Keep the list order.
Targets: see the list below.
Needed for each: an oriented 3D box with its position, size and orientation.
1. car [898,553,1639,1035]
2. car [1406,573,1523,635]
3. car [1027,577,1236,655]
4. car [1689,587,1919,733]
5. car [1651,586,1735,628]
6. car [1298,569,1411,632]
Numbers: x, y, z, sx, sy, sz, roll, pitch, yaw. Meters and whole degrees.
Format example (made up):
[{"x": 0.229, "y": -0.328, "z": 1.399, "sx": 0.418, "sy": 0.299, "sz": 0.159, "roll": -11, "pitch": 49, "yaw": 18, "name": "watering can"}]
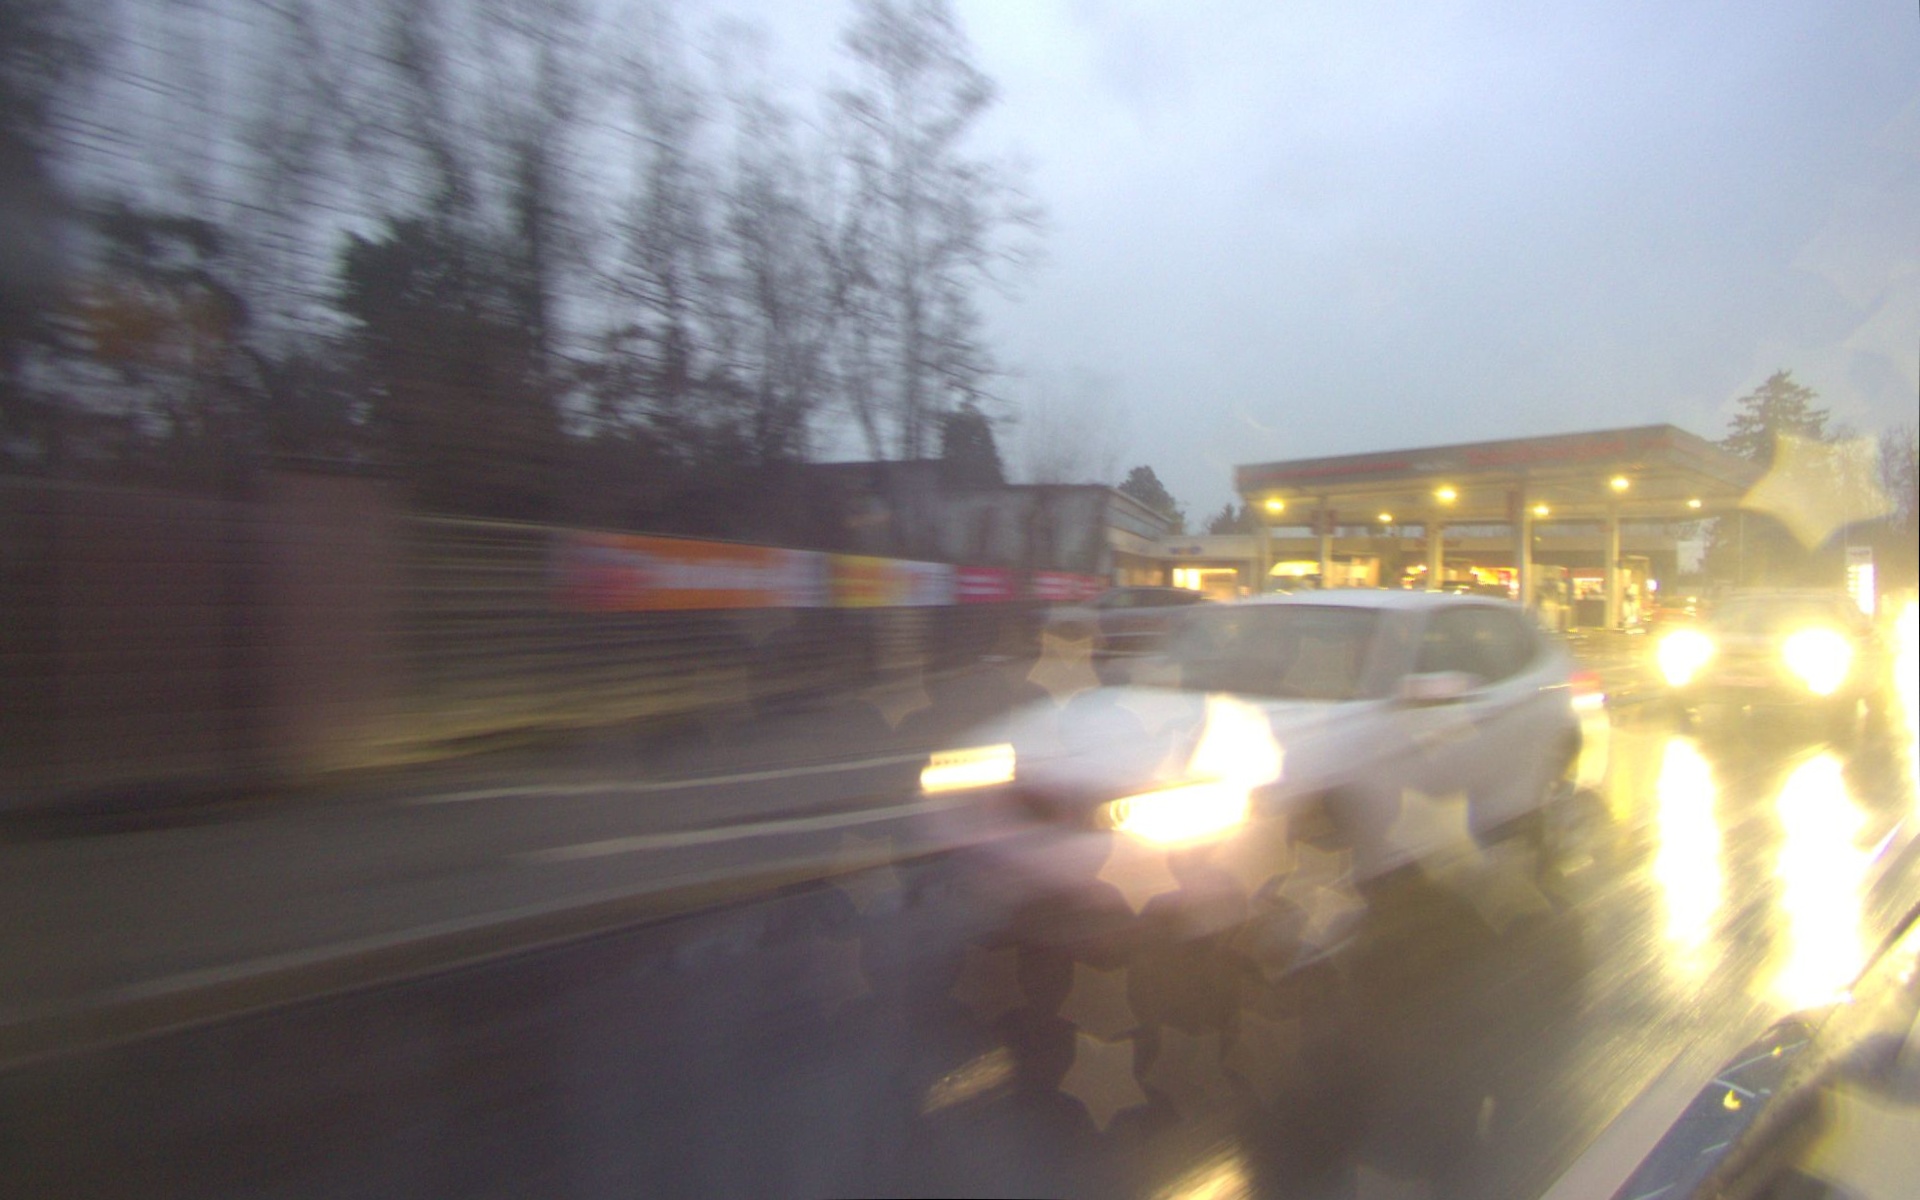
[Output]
[{"x": 1.933, "y": 0.619, "z": 5.430, "sx": 4.385, "sy": 1.595, "sz": 1.711, "roll": 0, "pitch": 1, "yaw": -40, "name": "car"}, {"x": 16.744, "y": 0.084, "z": 33.500, "sx": 4.223, "sy": 1.882, "sz": 1.997, "roll": 0, "pitch": 2, "yaw": -41, "name": "car"}, {"x": 3.756, "y": 0.314, "z": 22.688, "sx": 4.405, "sy": 1.628, "sz": 2.016, "roll": 0, "pitch": 1, "yaw": 7, "name": "car"}, {"x": 10.624, "y": 0.620, "z": 12.646, "sx": 3.936, "sy": 1.548, "sz": 1.568, "roll": 0, "pitch": 0, "yaw": -40, "name": "car"}, {"x": 26.620, "y": 0.216, "z": 36.725, "sx": 4.096, "sy": 1.414, "sz": 1.575, "roll": 0, "pitch": 2, "yaw": -41, "name": "car"}, {"x": 13.424, "y": -0.011, "z": 34.338, "sx": 3.930, "sy": 2.039, "sz": 1.997, "roll": 0, "pitch": 1, "yaw": -41, "name": "car"}]
